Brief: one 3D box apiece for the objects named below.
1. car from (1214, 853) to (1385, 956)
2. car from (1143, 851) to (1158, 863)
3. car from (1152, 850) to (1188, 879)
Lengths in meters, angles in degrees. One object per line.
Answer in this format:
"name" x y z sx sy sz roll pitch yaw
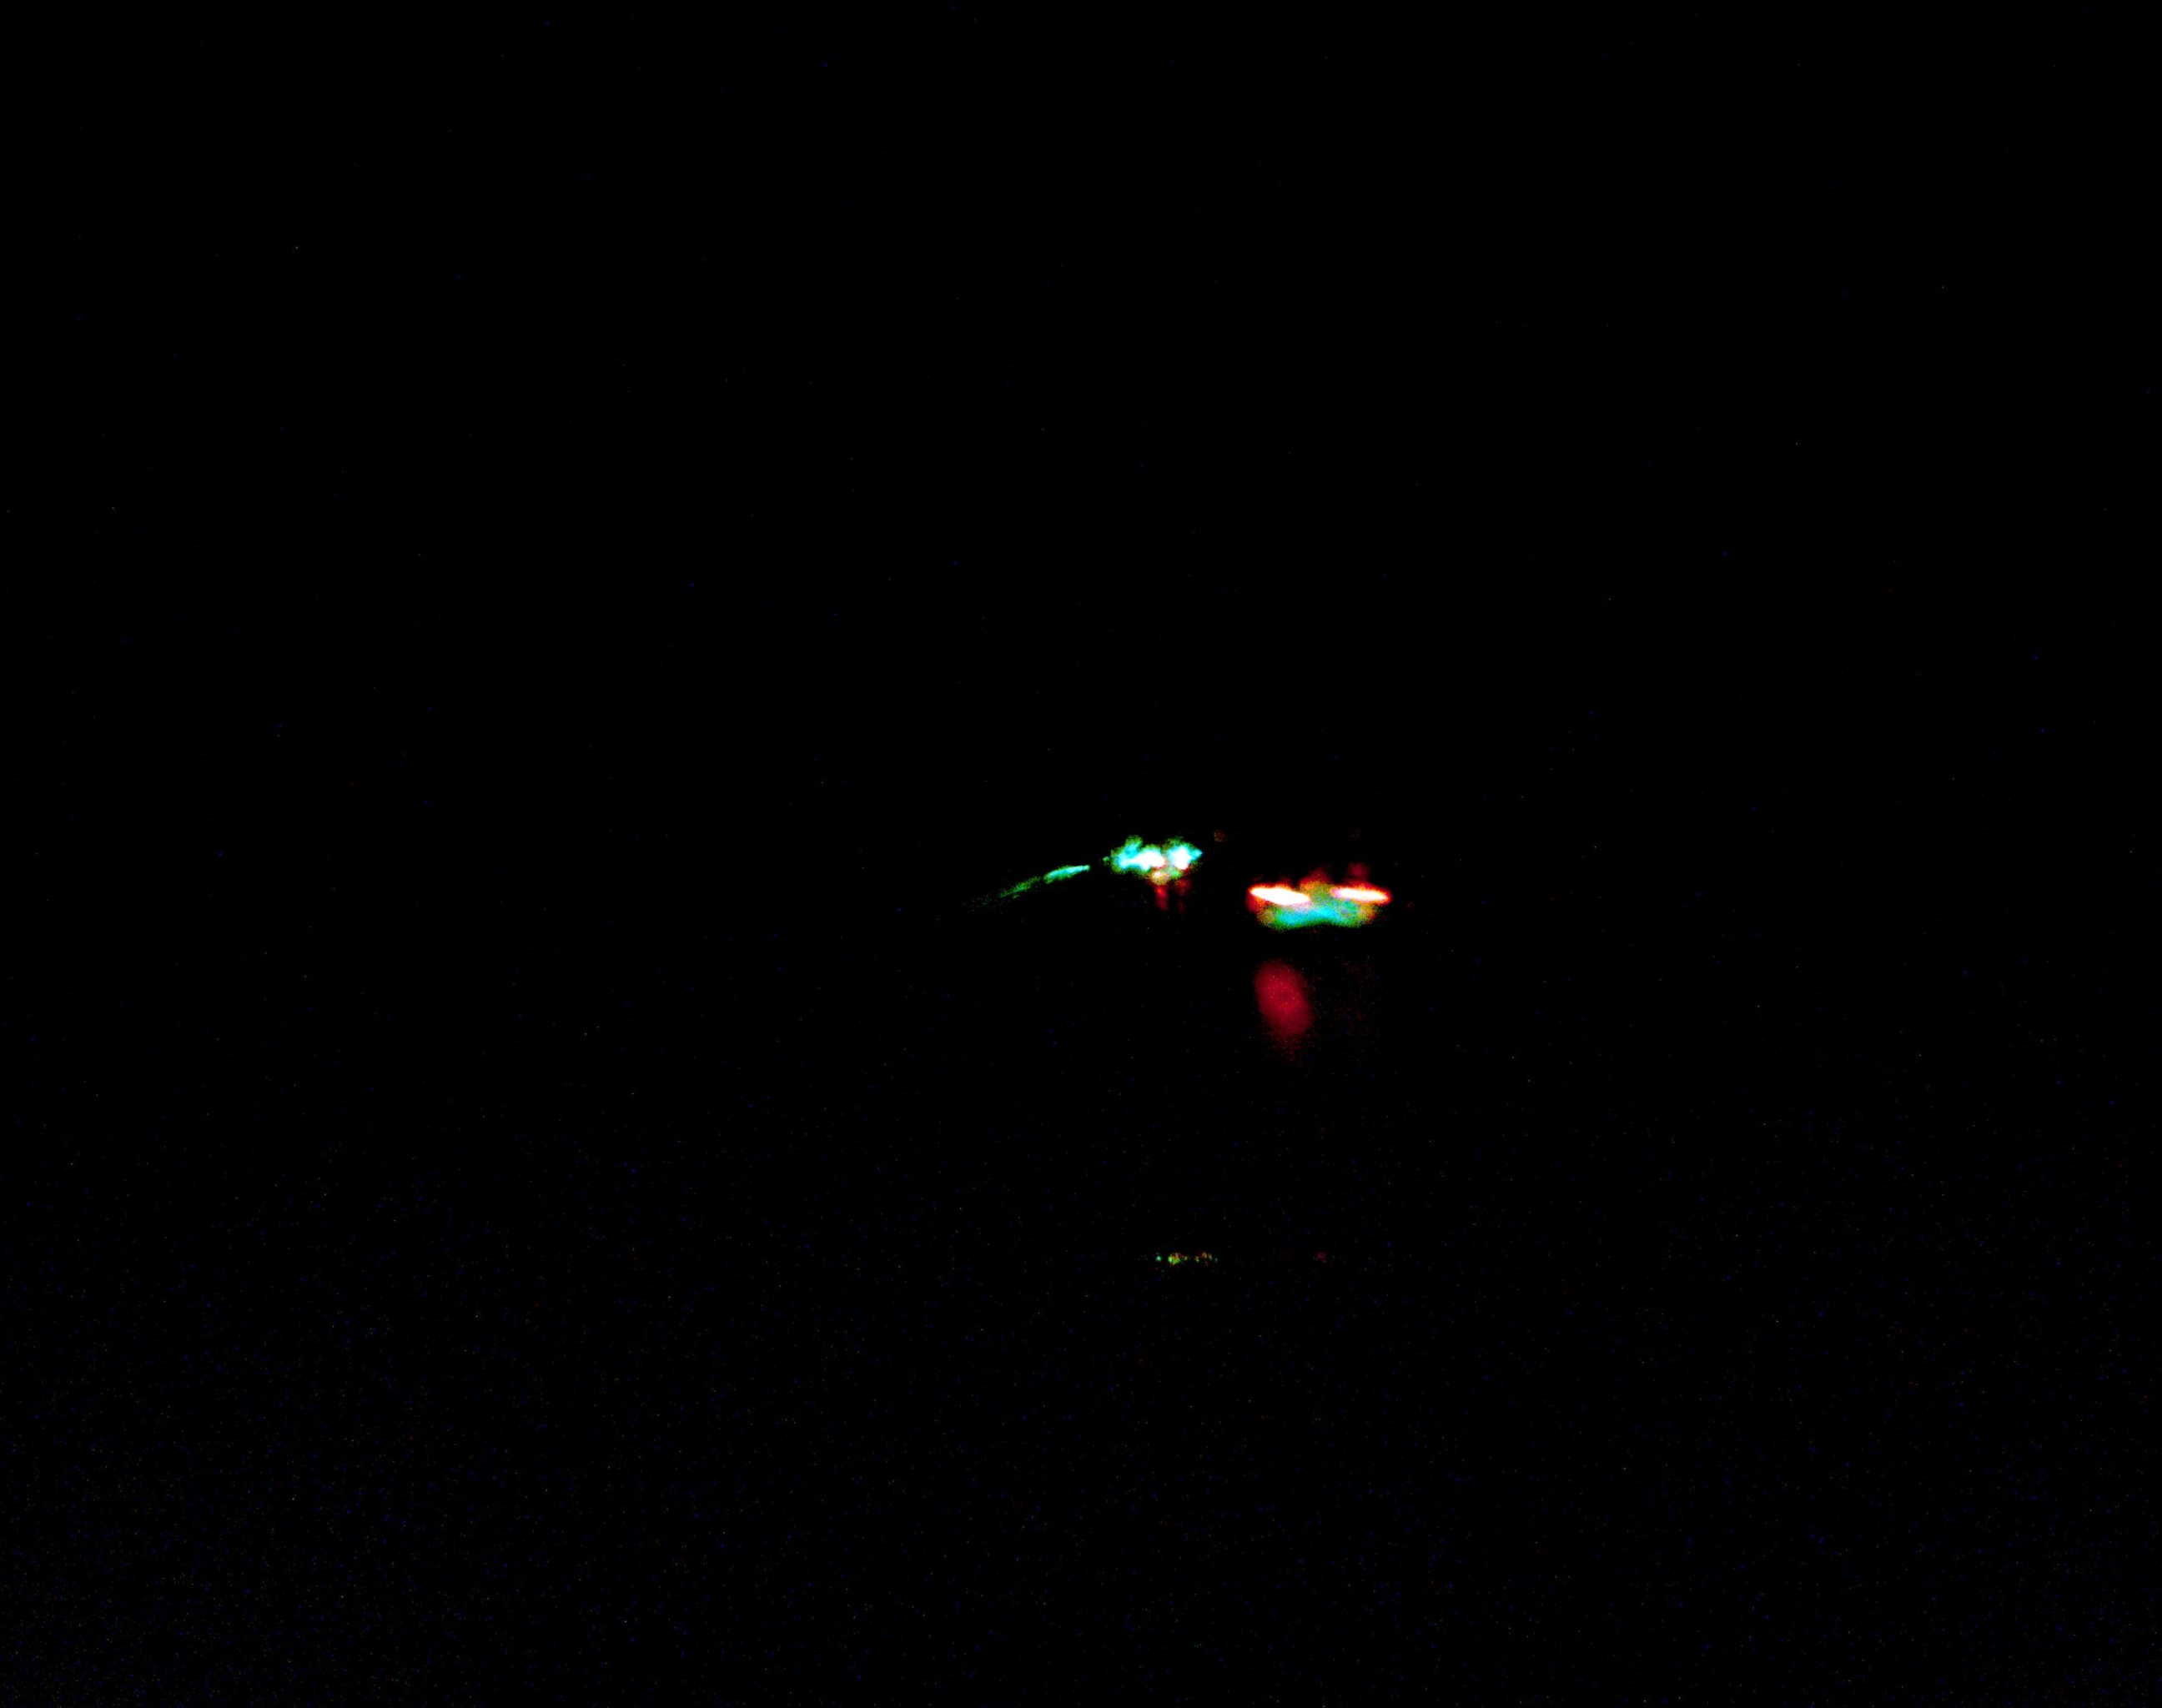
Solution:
"car" 3.683 0.764 13.666 1.837 1.474 4.353 -2 0 1
"car" 9.847 0.360 107.794 1.747 1.623 3.736 -2 0 1
"car" 5.134 0.581 44.211 1.706 1.497 3.683 -2 1 1
